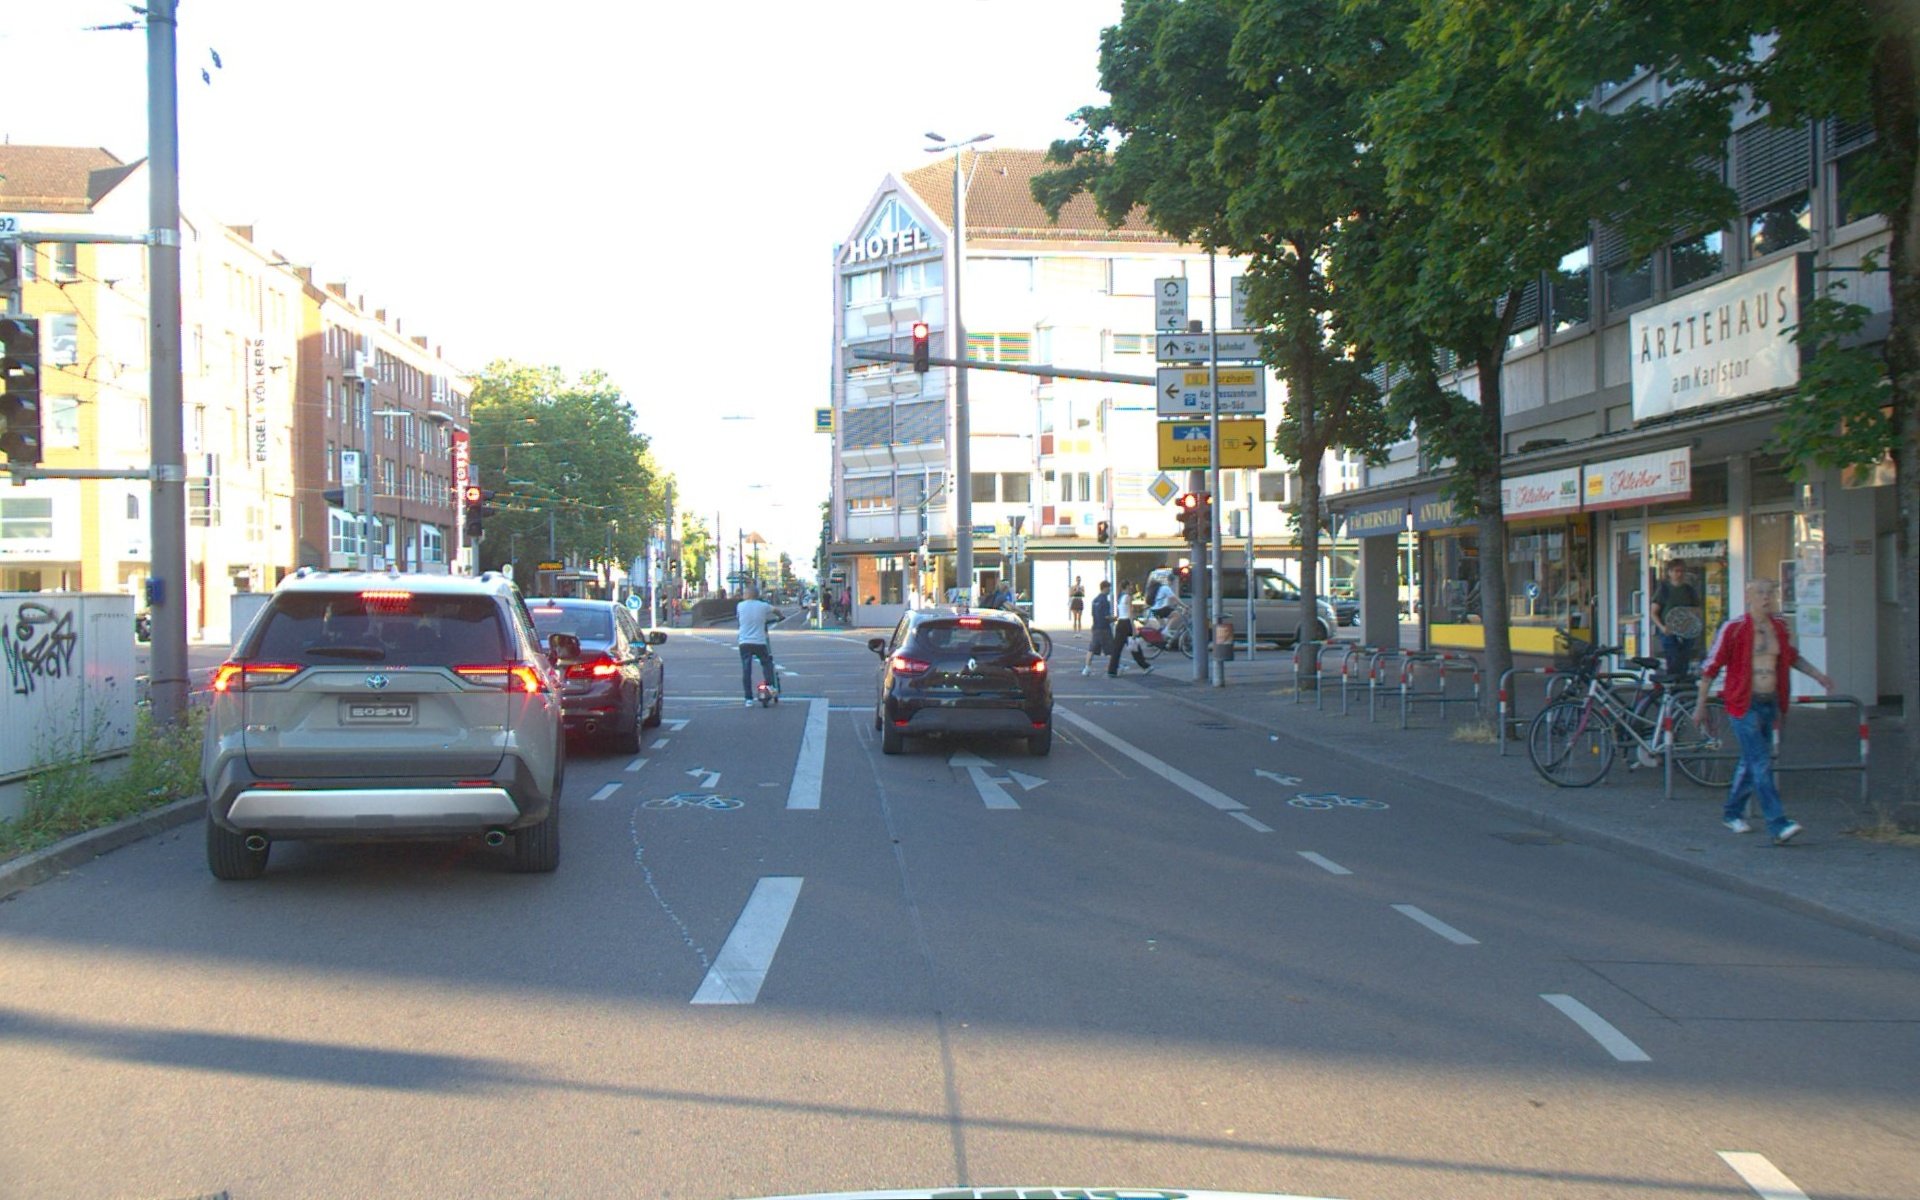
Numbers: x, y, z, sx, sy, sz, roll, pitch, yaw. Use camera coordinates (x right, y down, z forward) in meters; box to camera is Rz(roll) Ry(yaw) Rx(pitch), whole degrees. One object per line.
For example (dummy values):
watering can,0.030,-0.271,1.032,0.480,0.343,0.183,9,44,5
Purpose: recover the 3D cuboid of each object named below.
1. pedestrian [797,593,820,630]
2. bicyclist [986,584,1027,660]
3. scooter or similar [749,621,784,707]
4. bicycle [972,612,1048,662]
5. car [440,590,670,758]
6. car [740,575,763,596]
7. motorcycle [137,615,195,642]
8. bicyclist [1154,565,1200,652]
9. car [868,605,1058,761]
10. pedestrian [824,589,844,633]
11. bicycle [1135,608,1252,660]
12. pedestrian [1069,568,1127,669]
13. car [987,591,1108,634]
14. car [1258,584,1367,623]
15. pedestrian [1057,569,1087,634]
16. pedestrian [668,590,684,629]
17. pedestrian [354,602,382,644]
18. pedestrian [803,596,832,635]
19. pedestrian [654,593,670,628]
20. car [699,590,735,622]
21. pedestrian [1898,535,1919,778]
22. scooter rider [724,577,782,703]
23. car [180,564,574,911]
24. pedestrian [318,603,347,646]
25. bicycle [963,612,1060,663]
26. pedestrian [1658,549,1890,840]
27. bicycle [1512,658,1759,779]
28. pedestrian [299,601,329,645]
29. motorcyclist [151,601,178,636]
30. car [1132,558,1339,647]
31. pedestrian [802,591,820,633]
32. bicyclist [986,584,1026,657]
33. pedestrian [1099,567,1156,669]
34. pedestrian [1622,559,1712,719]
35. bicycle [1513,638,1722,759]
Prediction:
pedestrian,-6.857,0.517,74.831,0.717,1.652,0.760,-1,0,-43
bicyclist,0.981,0.457,34.832,0.691,1.537,0.548,-3,0,-11
scooter or similar,-2.621,0.853,22.458,0.273,1.110,1.257,1,0,1
bicycle,1.078,0.796,35.541,1.583,1.046,0.352,-1,0,-12
car,-4.033,0.660,17.131,1.711,1.486,4.404,1,0,-6
car,-20.585,-1.430,163.284,1.954,1.934,3.997,1,0,-4
motorcycle,-28.457,1.021,59.290,1.800,0.924,0.431,1,-1,-10
bicyclist,4.831,0.184,36.819,0.845,1.911,0.645,1,-1,-12
car,-0.074,0.797,17.839,1.729,1.465,3.996,0,0,-5
pedestrian,-6.984,0.600,91.585,1.063,2.406,1.055,1,-1,-4
bicycle,5.209,0.755,36.890,2.593,1.119,0.434,1,-1,-11
pedestrian,2.624,0.346,31.394,0.713,1.862,0.996,0,-1,30
car,3.407,0.483,64.755,4.466,1.649,1.994,0,0,-8
car,14.264,0.127,67.091,3.911,1.502,1.997,1,0,-7
pedestrian,3.151,0.048,46.432,0.731,1.809,0.800,1,-1,-3
pedestrian,-13.803,0.461,80.379,0.687,1.855,0.807,1,-1,-4
pedestrian,-29.615,1.143,82.772,1.072,2.049,1.161,1,0,-7
pedestrian,-6.368,0.690,73.874,0.838,1.756,0.928,0,-1,44
pedestrian,-14.524,0.531,80.614,0.687,1.693,0.807,1,-1,-4
car,-14.232,0.349,96.989,1.775,1.777,3.712,1,0,-4
pedestrian,7.543,0.423,12.135,0.731,1.809,0.972,1,-1,-4
scooter rider,-2.806,0.532,22.501,0.648,1.676,0.661,1,-1,3
car,-3.318,0.641,10.149,1.803,1.664,4.077,0,1,-13
pedestrian,-30.139,1.158,79.467,1.072,2.049,0.907,1,-1,-8
bicycle,1.080,0.791,34.839,1.999,1.046,0.416,0,0,-11
pedestrian,5.110,0.563,10.415,0.814,1.714,1.038,1,-1,-29
bicycle,5.360,0.937,13.165,1.780,0.907,0.415,1,-1,2
pedestrian,-30.347,1.090,77.689,1.072,2.049,0.907,1,-1,-8
motorcyclist,-28.512,0.646,59.289,0.691,1.242,0.786,1,0,-11
car,6.754,0.044,40.659,4.607,2.049,1.992,-1,0,-16
pedestrian,-8.090,0.655,90.067,0.914,2.235,0.851,1,-1,-8
bicyclist,0.990,0.432,35.543,0.691,1.537,0.548,-3,0,-11
pedestrian,3.108,0.328,30.603,0.712,1.862,0.996,0,-1,28
pedestrian,8.176,0.443,19.158,0.730,1.809,0.800,1,-1,4
bicycle,5.603,0.835,14.131,1.623,0.991,0.386,1,-1,2
